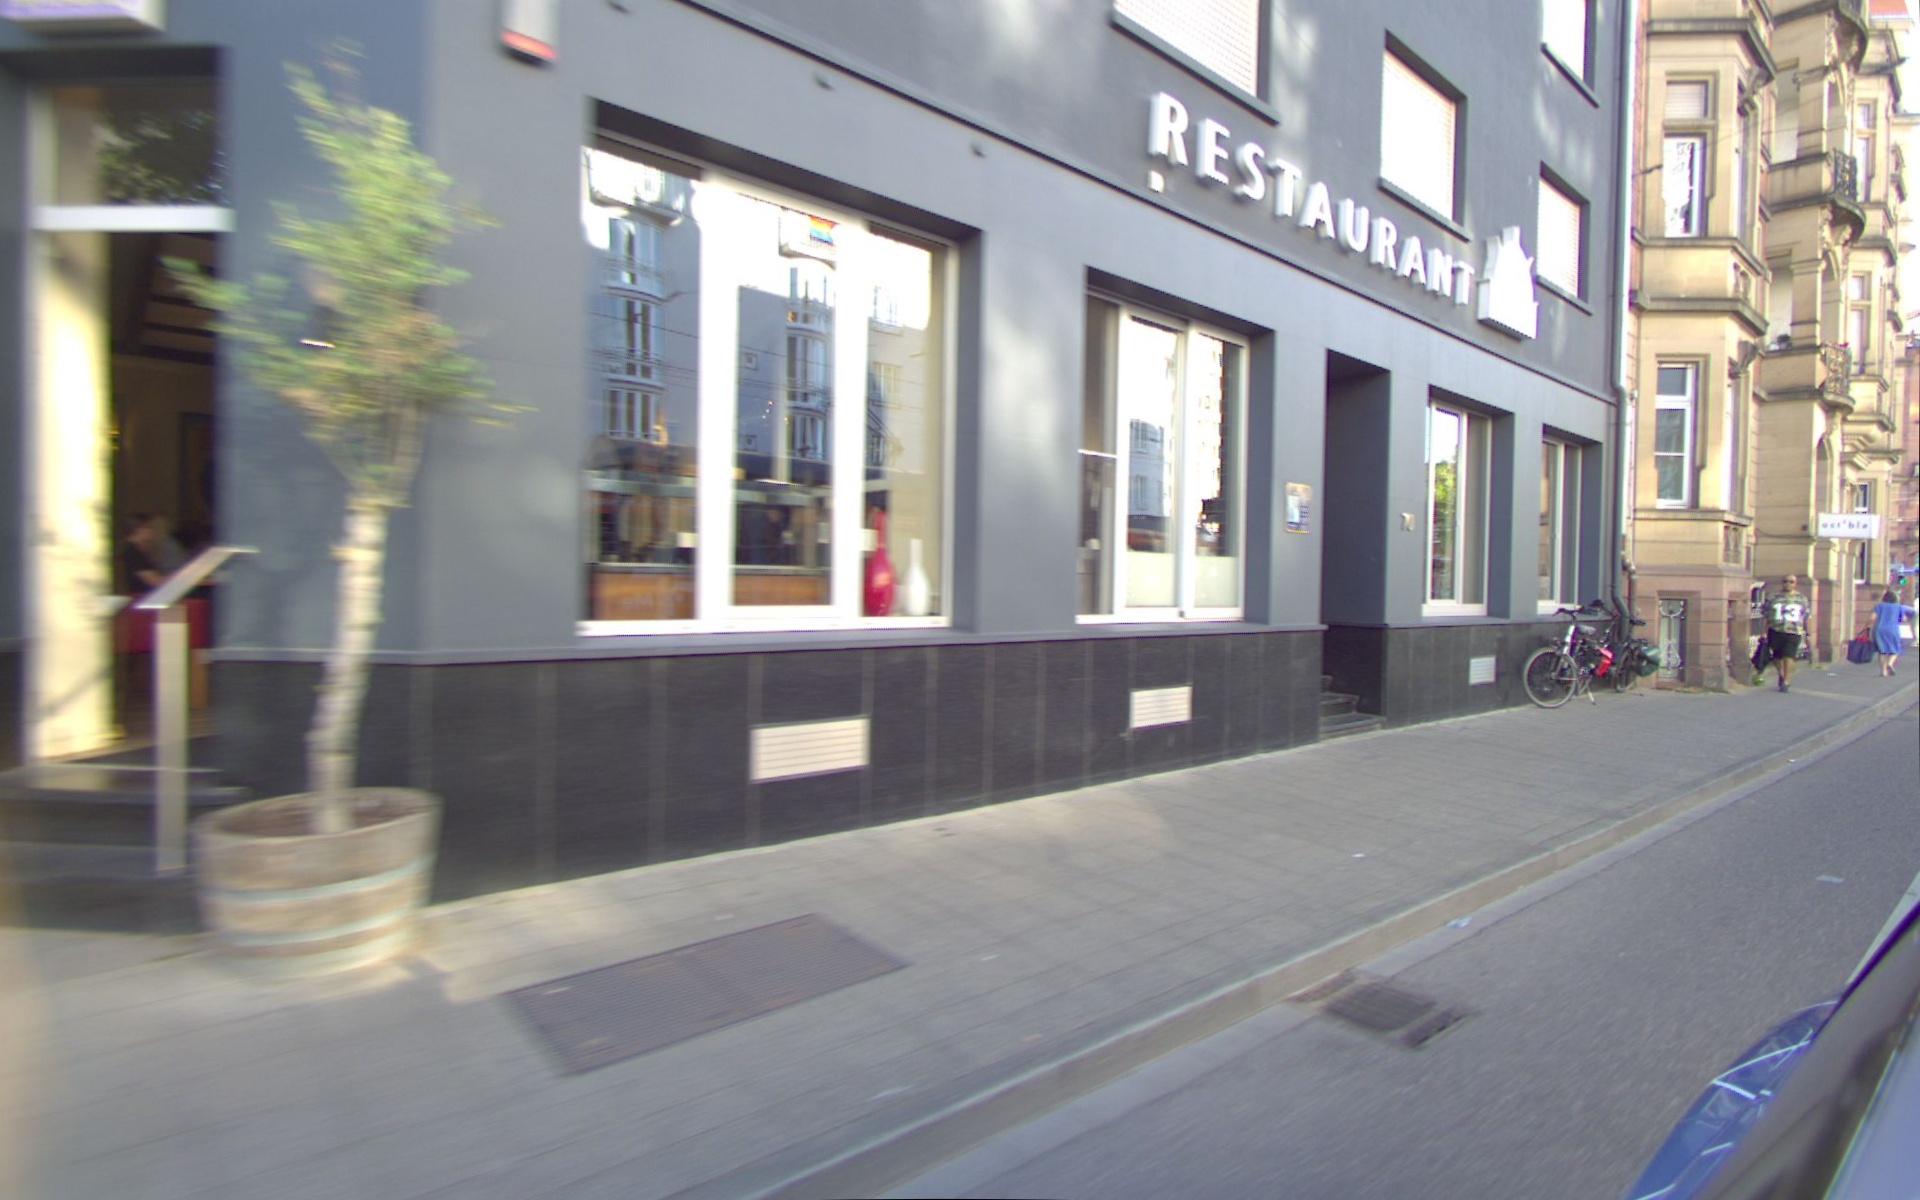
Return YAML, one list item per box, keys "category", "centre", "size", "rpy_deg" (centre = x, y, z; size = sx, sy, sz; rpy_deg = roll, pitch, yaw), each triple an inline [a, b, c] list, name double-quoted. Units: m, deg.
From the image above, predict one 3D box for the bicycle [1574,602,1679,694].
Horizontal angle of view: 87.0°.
- category: "bicycle"
  centre: [8.728, 0.592, 13.231]
  size: [1.772, 1.083, 0.593]
  rpy_deg: [0, 4, -39]

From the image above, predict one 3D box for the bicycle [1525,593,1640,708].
- category: "bicycle"
  centre: [7.374, 0.549, 11.950]
  size: [1.876, 1.212, 0.624]
  rpy_deg: [0, 4, -43]

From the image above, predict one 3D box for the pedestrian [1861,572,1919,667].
- category: "pedestrian"
  centre: [17.160, 0.347, 18.592]
  size: [0.818, 1.665, 0.764]
  rpy_deg: [0, 2, -42]

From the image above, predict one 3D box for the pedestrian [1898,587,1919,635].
- category: "pedestrian"
  centre: [28.040, 0.332, 29.605]
  size: [0.707, 1.347, 0.795]
  rpy_deg: [-2, 4, -43]

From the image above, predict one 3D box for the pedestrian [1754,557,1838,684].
- category: "pedestrian"
  centre: [12.661, 0.286, 15.330]
  size: [0.784, 1.846, 0.802]
  rpy_deg: [0, 2, -42]
